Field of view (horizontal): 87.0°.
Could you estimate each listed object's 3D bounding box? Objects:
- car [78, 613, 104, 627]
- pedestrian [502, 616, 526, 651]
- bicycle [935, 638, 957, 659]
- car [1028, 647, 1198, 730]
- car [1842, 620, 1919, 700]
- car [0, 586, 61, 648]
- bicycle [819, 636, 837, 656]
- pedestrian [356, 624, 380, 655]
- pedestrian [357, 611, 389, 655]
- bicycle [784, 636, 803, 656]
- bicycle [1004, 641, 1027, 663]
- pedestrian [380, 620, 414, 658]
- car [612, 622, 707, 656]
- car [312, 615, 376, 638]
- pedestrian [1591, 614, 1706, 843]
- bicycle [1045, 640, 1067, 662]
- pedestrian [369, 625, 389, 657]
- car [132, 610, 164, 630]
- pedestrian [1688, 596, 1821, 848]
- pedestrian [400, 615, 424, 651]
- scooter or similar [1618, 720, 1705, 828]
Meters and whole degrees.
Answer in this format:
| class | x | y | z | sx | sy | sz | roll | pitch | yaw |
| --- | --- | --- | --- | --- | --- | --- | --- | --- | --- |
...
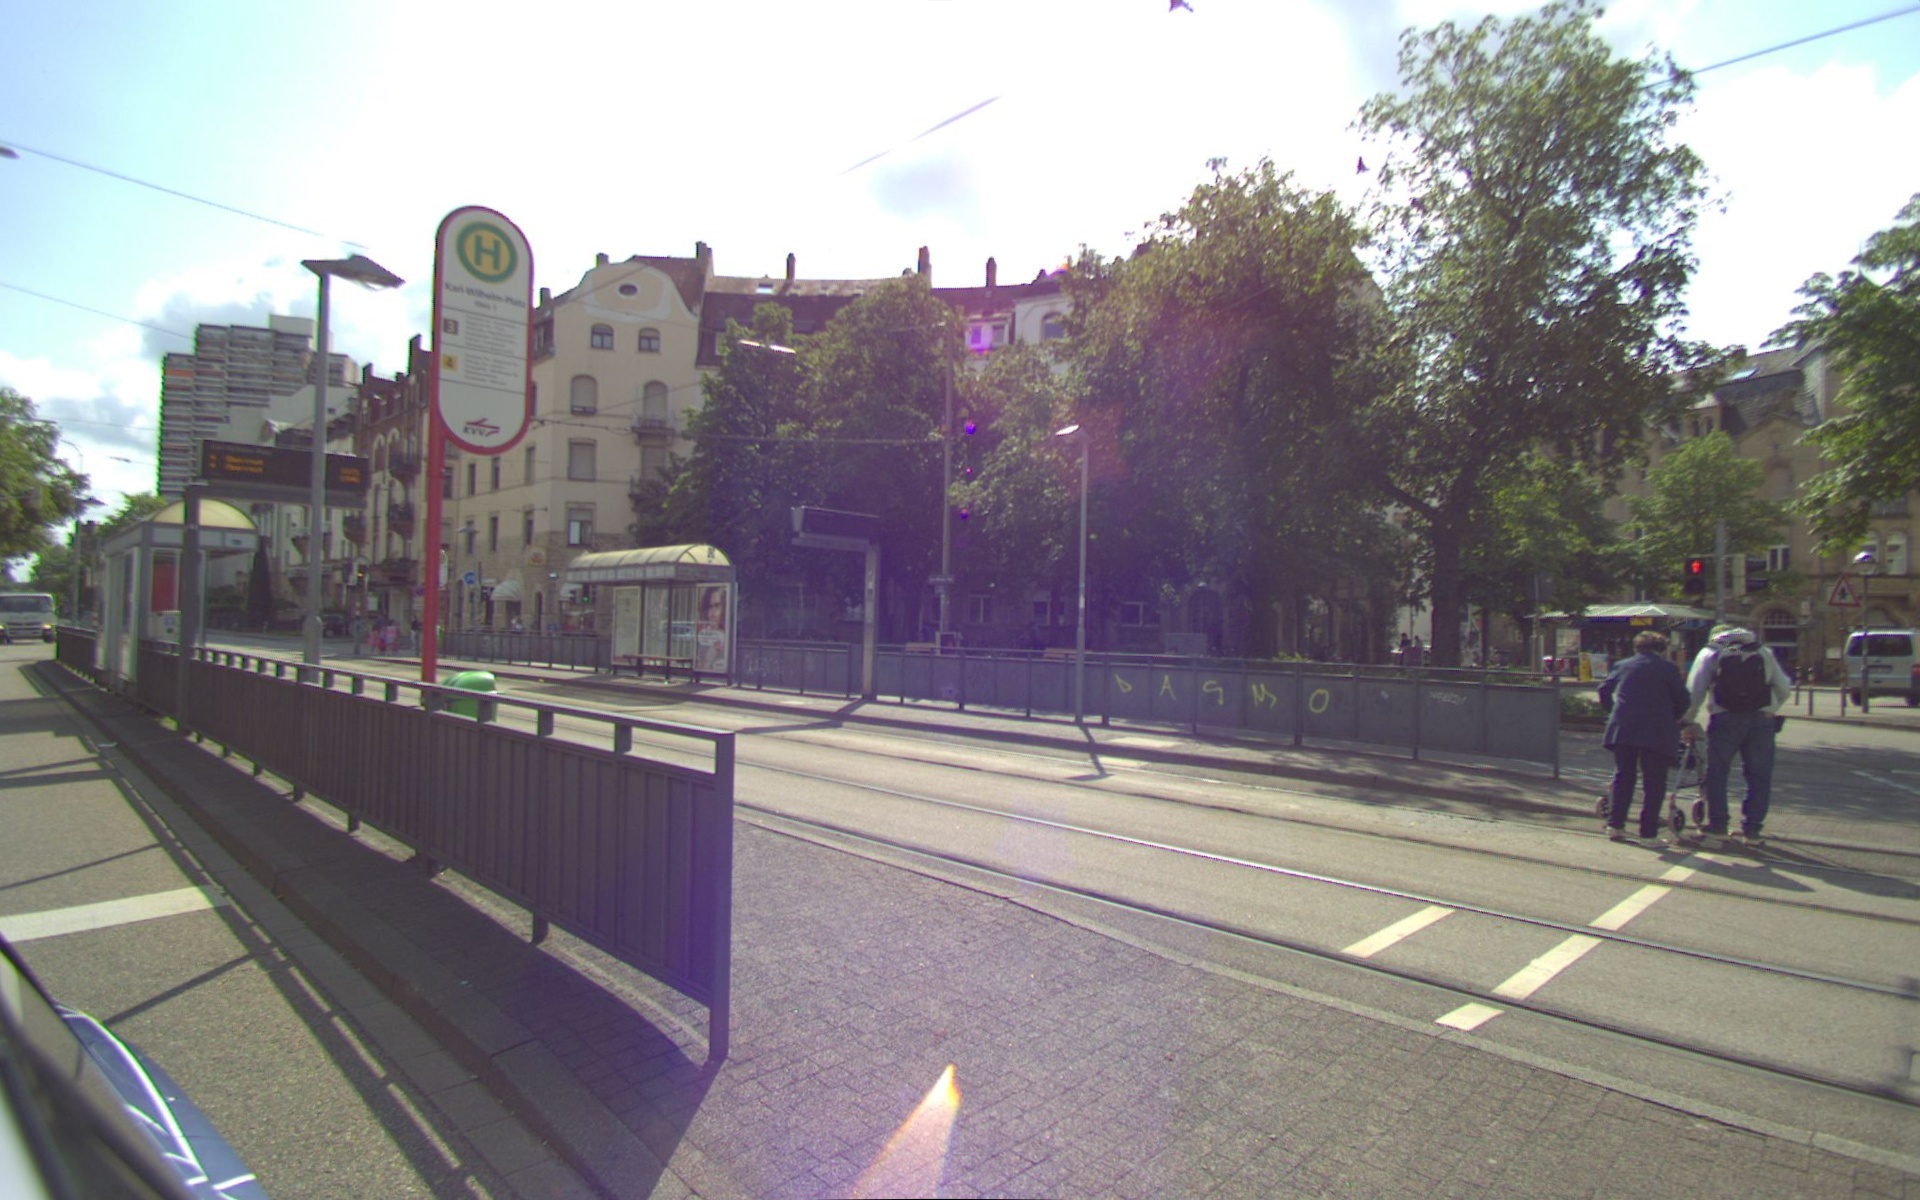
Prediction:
| class | x | y | z | sx | sy | sz | roll | pitch | yaw |
| --- | --- | --- | --- | --- | --- | --- | --- | --- | --- |
| car | -88.420 | 2.028 | 102.946 | 3.437 | 1.398 | 1.606 | -1 | -4 | 44 |
| pedestrian | -20.775 | 1.548 | 47.156 | 0.685 | 1.553 | 0.964 | -3 | 1 | -44 |
| bicycle | -0.644 | 2.287 | 47.703 | 0.566 | 0.905 | 2.023 | 1 | -1 | 12 |
| car | 3.768 | 2.137 | 25.334 | 1.660 | 1.790 | 4.003 | 3 | -3 | -44 |
| car | 25.681 | 1.577 | 26.810 | 3.879 | 2.004 | 1.862 | 2 | -2 | -21 |
| car | -41.777 | 0.780 | 45.187 | 2.137 | 2.607 | 5.668 | 3 | -2 | -44 |
| bicycle | -6.360 | 2.206 | 48.843 | 0.539 | 0.889 | 2.030 | 1 | -1 | 1 |
| pedestrian | -21.592 | 1.446 | 36.916 | 0.443 | 1.122 | 0.634 | 0 | -2 | 41 |
| pedestrian | -21.173 | 1.196 | 36.503 | 0.799 | 1.577 | 0.720 | 0 | -2 | 41 |
| bicycle | -8.051 | 2.218 | 48.974 | 0.505 | 0.889 | 2.030 | 1 | -1 | 1 |
| bicycle | 2.549 | 2.389 | 46.547 | 0.567 | 0.905 | 2.019 | 1 | -1 | 17 |
| pedestrian | -20.233 | 1.396 | 36.379 | 0.717 | 1.313 | 0.817 | 0 | -5 | 41 |
| car | -13.705 | 1.770 | 46.288 | 3.818 | 1.431 | 1.721 | 1 | -2 | -1 |
| car | -41.551 | 1.785 | 68.273 | 3.403 | 1.497 | 1.708 | 0 | -1 | -44 |
| pedestrian | 4.991 | 0.886 | 7.334 | 0.581 | 1.558 | 0.660 | -1 | -3 | 45 |
| bicycle | 4.315 | 2.280 | 45.563 | 0.567 | 0.905 | 2.019 | 1 | -1 | 17 |
| pedestrian | -20.718 | 1.450 | 36.112 | 0.423 | 1.116 | 0.433 | 0 | -5 | 41 |
| car | -74.795 | 1.849 | 93.189 | 4.333 | 1.724 | 1.771 | -1 | -3 | 45 |
| pedestrian | 5.739 | 0.830 | 7.307 | 0.668 | 1.687 | 0.762 | -1 | -3 | 45 |
| pedestrian | -27.351 | 1.645 | 50.521 | 0.874 | 1.717 | 0.748 | -1 | 1 | 45 |
| scooter or similar | 5.348 | 1.310 | 7.718 | 0.486 | 0.726 | 0.409 | -1 | -3 | 45 |
